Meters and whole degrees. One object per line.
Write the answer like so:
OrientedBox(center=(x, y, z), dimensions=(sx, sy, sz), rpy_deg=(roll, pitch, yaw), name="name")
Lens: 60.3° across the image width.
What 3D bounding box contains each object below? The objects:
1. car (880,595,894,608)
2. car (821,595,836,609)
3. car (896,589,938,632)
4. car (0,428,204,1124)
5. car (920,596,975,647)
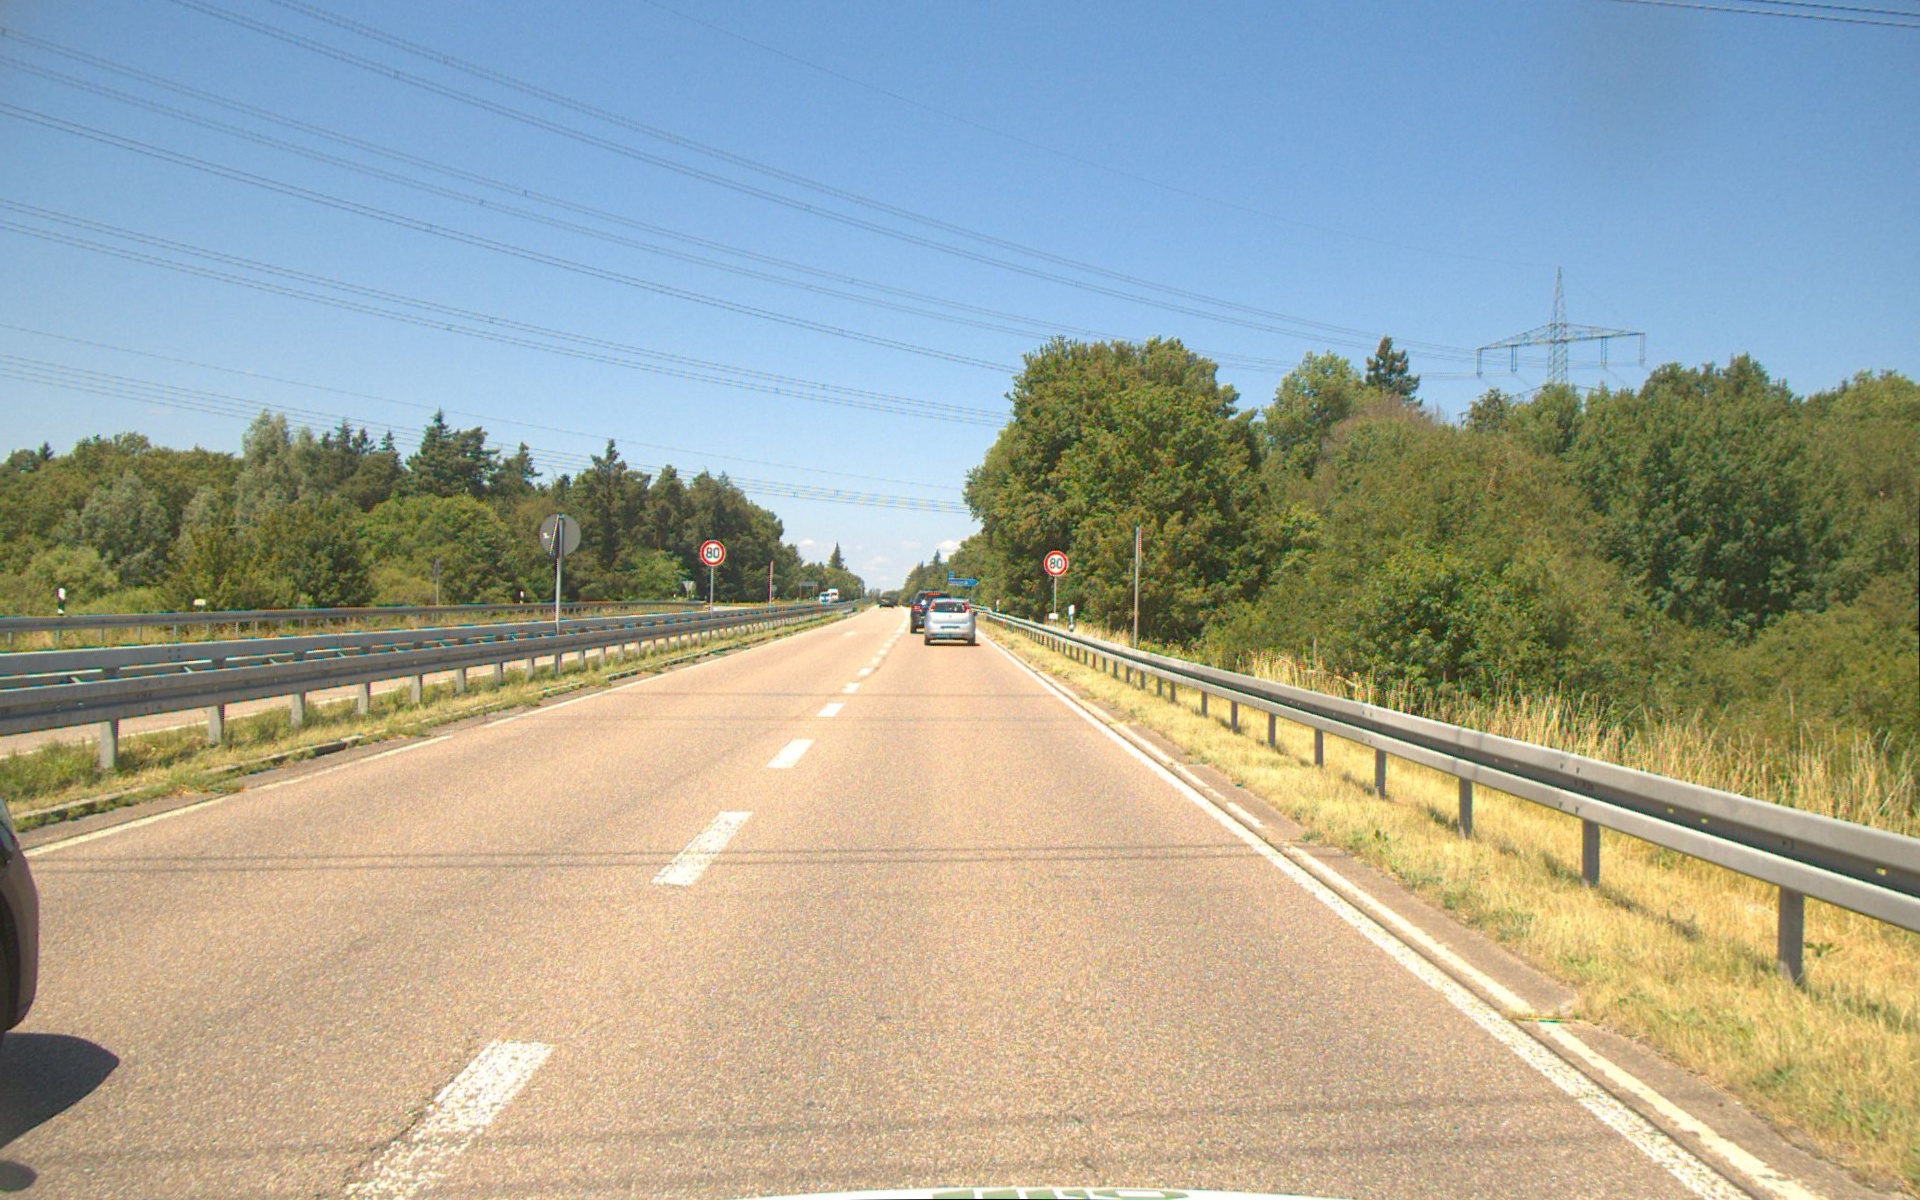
OrientedBox(center=(-9.039, 0.237, 204.869), dimensions=(1.678, 1.497, 3.572), rpy_deg=(3, 0, -2), name="car")
OrientedBox(center=(-20.168, 0.310, 254.243), dimensions=(1.852, 2.027, 5.533), rpy_deg=(0, 0, 1), name="car")
OrientedBox(center=(-1.842, 0.428, 69.743), dimensions=(1.608, 1.682, 3.571), rpy_deg=(3, 0, -3), name="car")
OrientedBox(center=(-3.515, 0.482, 3.038), dimensions=(1.817, 1.920, 5.571), rpy_deg=(0, 0, -2), name="car")
OrientedBox(center=(-0.442, 0.673, 53.551), dimensions=(1.607, 1.493, 3.417), rpy_deg=(3, 0, -2), name="car")
